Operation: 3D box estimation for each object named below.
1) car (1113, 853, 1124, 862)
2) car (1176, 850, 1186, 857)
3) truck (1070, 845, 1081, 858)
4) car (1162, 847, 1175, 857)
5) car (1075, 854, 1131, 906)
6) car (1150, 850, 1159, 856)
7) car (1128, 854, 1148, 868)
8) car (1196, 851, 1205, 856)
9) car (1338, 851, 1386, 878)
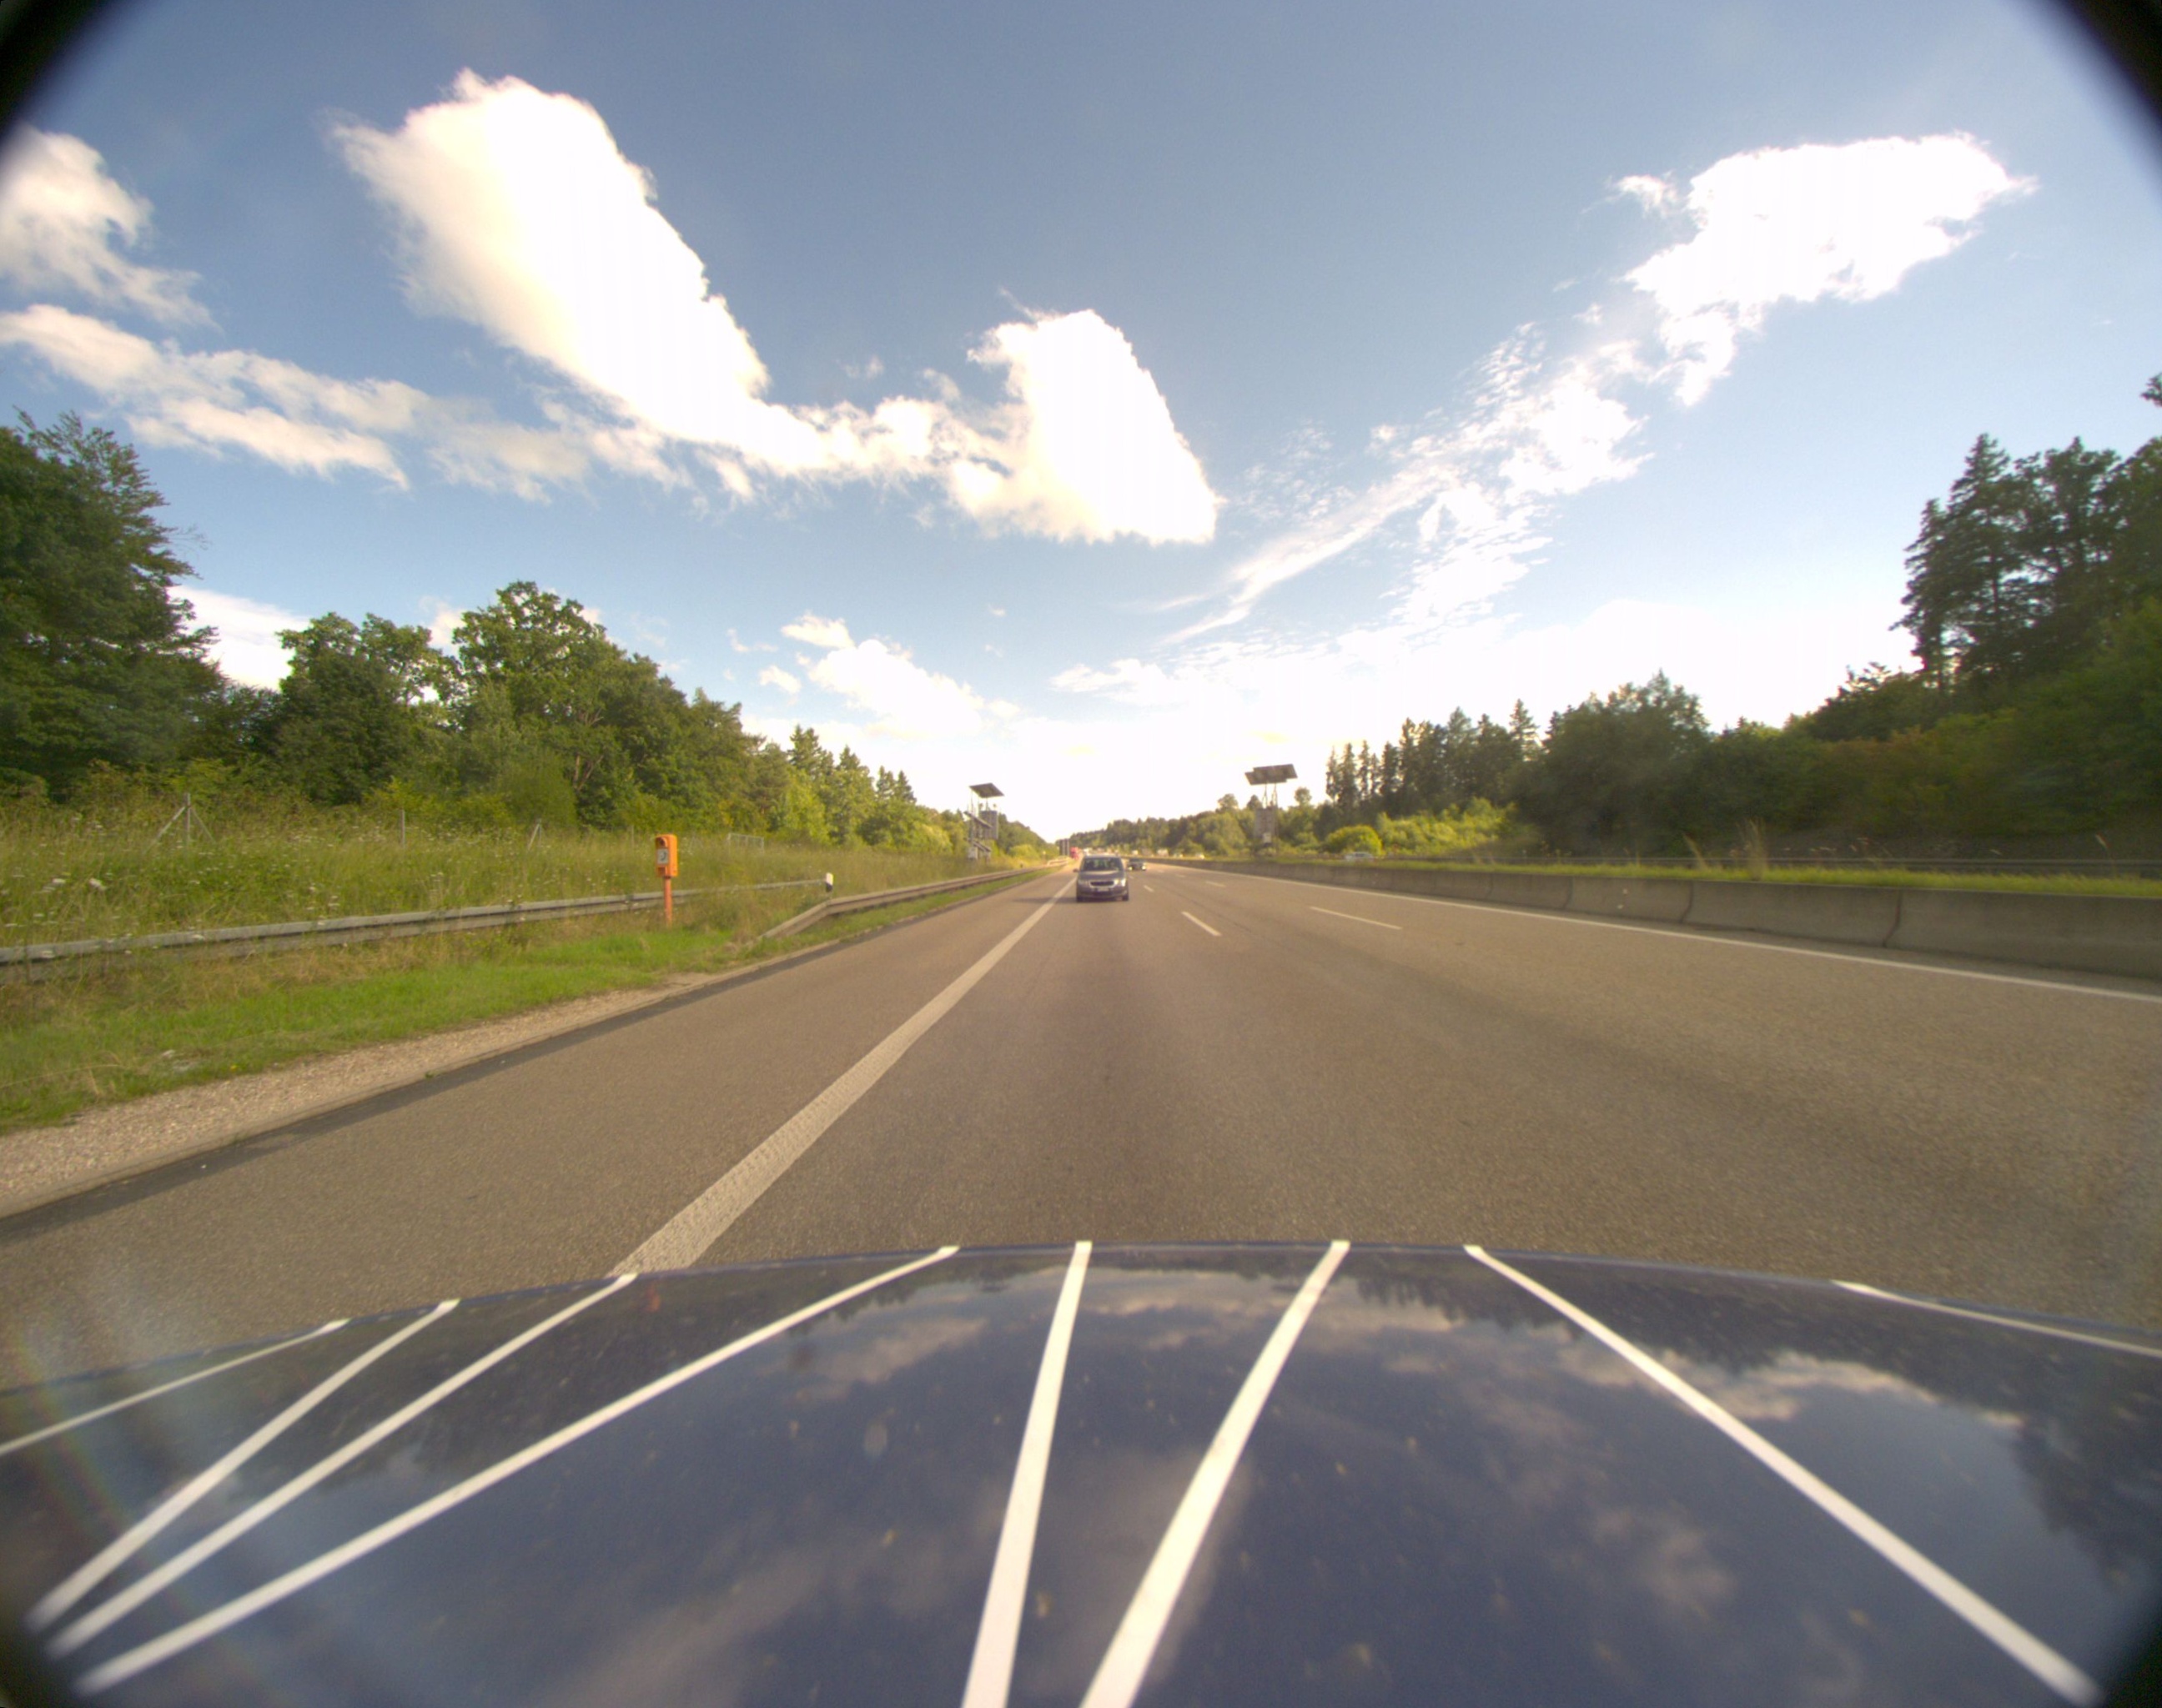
[{"bbox_3d":[6.557,0.616,133.063,1.961,1.608,4.388,-2,0,2],"label":"car"},{"bbox_3d":[23.916,-0.125,181.159,1.929,1.795,4.493,-2,0,2],"label":"car"},{"bbox_3d":[-1.756,-0.780,248.282,2.880,3.871,8.959,-2,1,1],"label":"truck"},{"bbox_3d":[20.771,-0.512,181.283,2.585,2.332,5.829,-2,0,2],"label":"car"},{"bbox_3d":[0.784,0.836,26.414,1.741,1.608,4.083,-2,0,2],"label":"car"},{"bbox_3d":[25.172,-0.338,259.480,2.585,2.126,5.966,-2,0,2],"label":"car"},{"bbox_3d":[5.609,0.638,75.317,1.748,1.276,4.199,-2,0,2],"label":"car"},{"bbox_3d":[26.674,-0.072,169.596,1.595,1.087,3.173,-2,0,2],"label":"car"},{"bbox_3d":[20.738,0.745,56.271,1.931,1.894,4.429,-2,0,1],"label":"car"}]
